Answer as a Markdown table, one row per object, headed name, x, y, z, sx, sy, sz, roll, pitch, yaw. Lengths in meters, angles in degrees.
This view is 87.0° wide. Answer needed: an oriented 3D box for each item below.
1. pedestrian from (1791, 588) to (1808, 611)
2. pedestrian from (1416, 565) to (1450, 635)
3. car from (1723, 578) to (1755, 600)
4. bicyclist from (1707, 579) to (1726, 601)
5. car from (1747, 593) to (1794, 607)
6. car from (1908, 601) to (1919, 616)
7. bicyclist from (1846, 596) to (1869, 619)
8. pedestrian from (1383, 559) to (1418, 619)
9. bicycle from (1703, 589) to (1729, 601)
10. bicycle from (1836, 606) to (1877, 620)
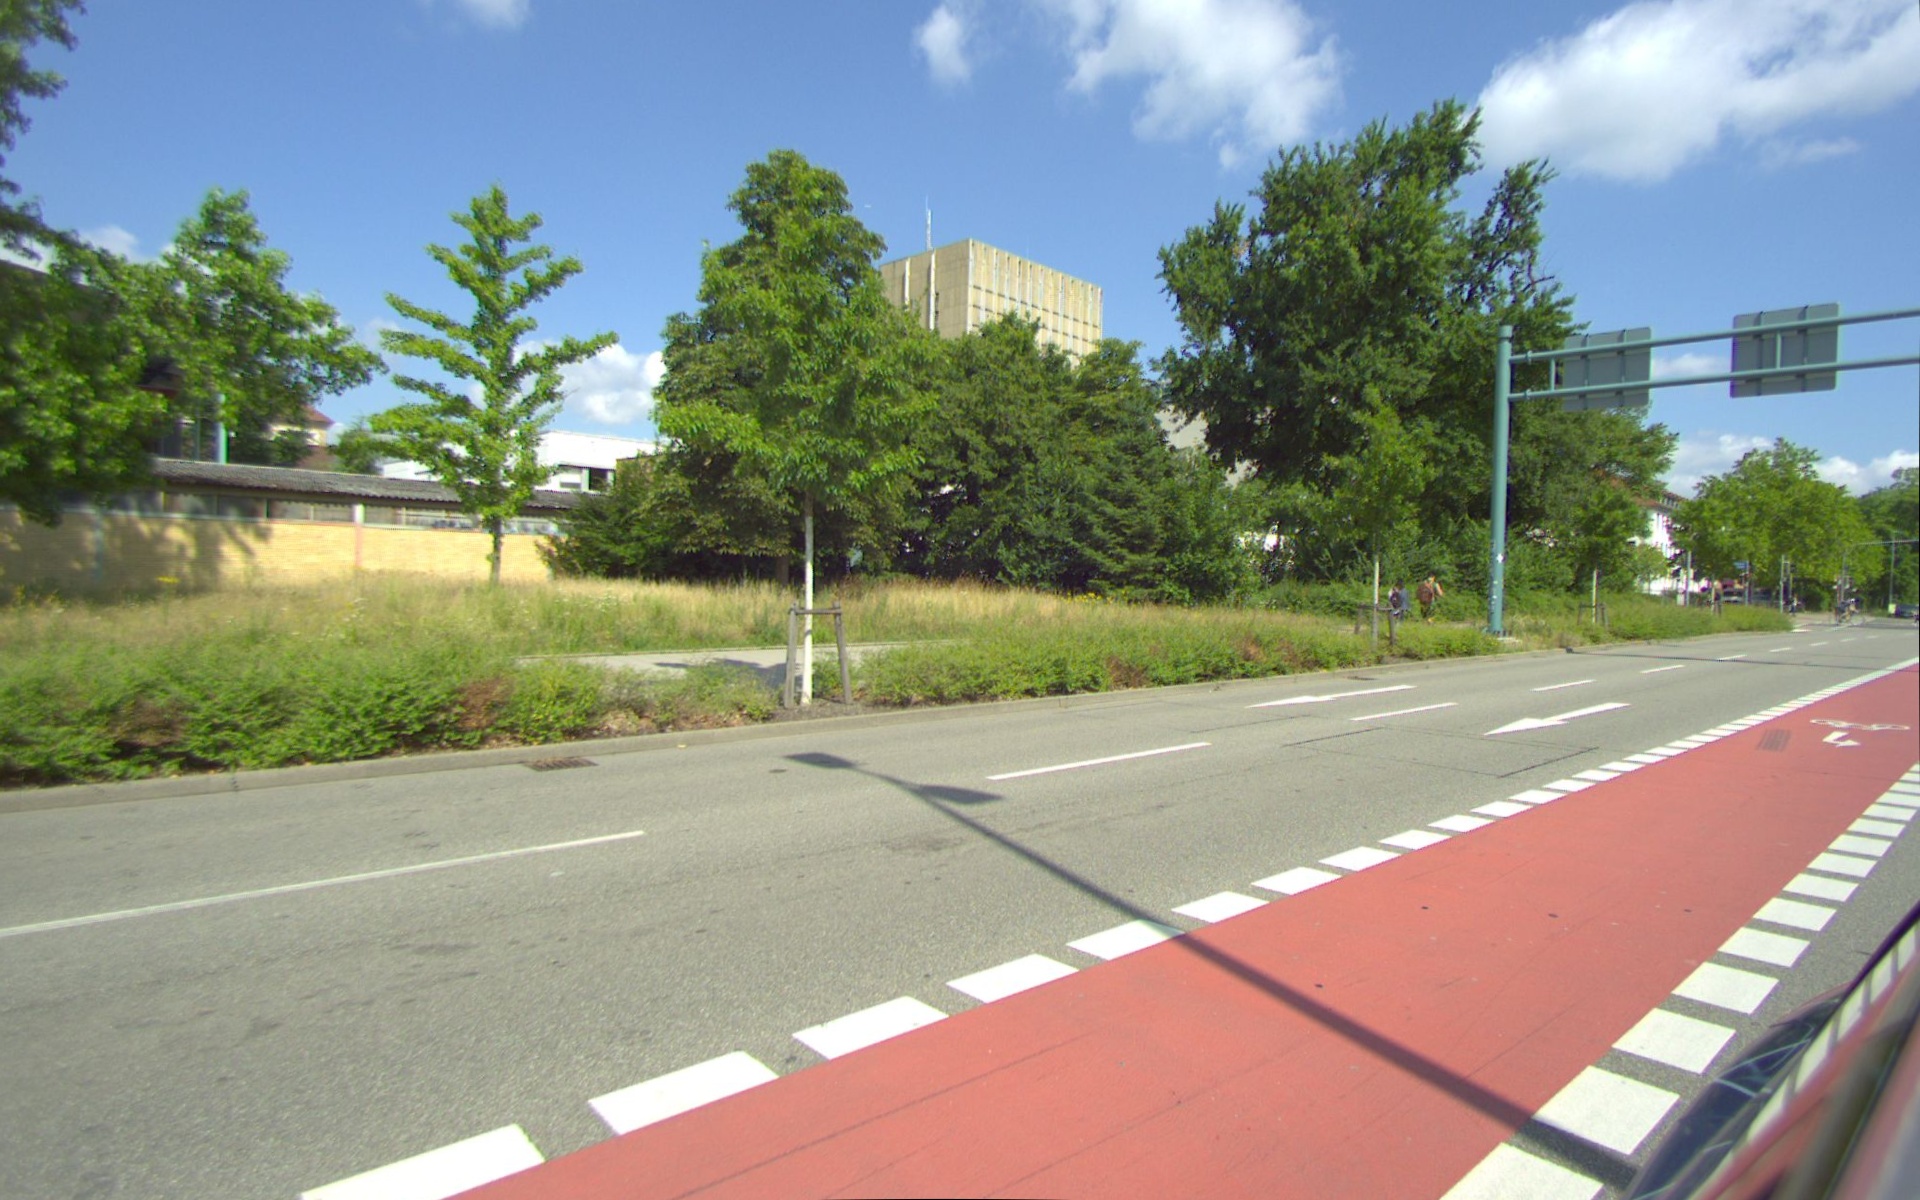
| name | x | y | z | sx | sy | sz | roll | pitch | yaw |
| --- | --- | --- | --- | --- | --- | --- | --- | --- | --- |
| pedestrian | 62.163 | -0.026 | 74.923 | 0.626 | 1.670 | 0.743 | 1 | 1 | -31 |
| pedestrian | 12.666 | -0.006 | 27.106 | 0.627 | 1.824 | 0.568 | 1 | 1 | -41 |
| car | 74.191 | -1.056 | 96.369 | 1.993 | 2.039 | 4.828 | 2 | 1 | 42 |
| bicyclist | 52.608 | -0.691 | 70.384 | 0.600 | 1.526 | 0.919 | 1 | 1 | -2 |
| car | 89.924 | 0.022 | 112.297 | 3.979 | 1.442 | 1.734 | 3 | 2 | 38 |
| car | 92.383 | 0.856 | 97.328 | 1.704 | 1.345 | 3.938 | 6 | 4 | 42 |
| bicyclist | 53.456 | 0.455 | 60.276 | 0.926 | 1.365 | 0.439 | 1 | 1 | 36 |
| pedestrian | 12.004 | -0.300 | 27.578 | 0.696 | 1.600 | 0.624 | 1 | 1 | -41 |
| bicycle | 52.602 | -0.351 | 70.437 | 0.608 | 0.843 | 1.516 | 1 | 1 | -2 |
| bicycle | 53.414 | 0.749 | 60.315 | 1.746 | 0.785 | 0.439 | 2 | 1 | 36 |
